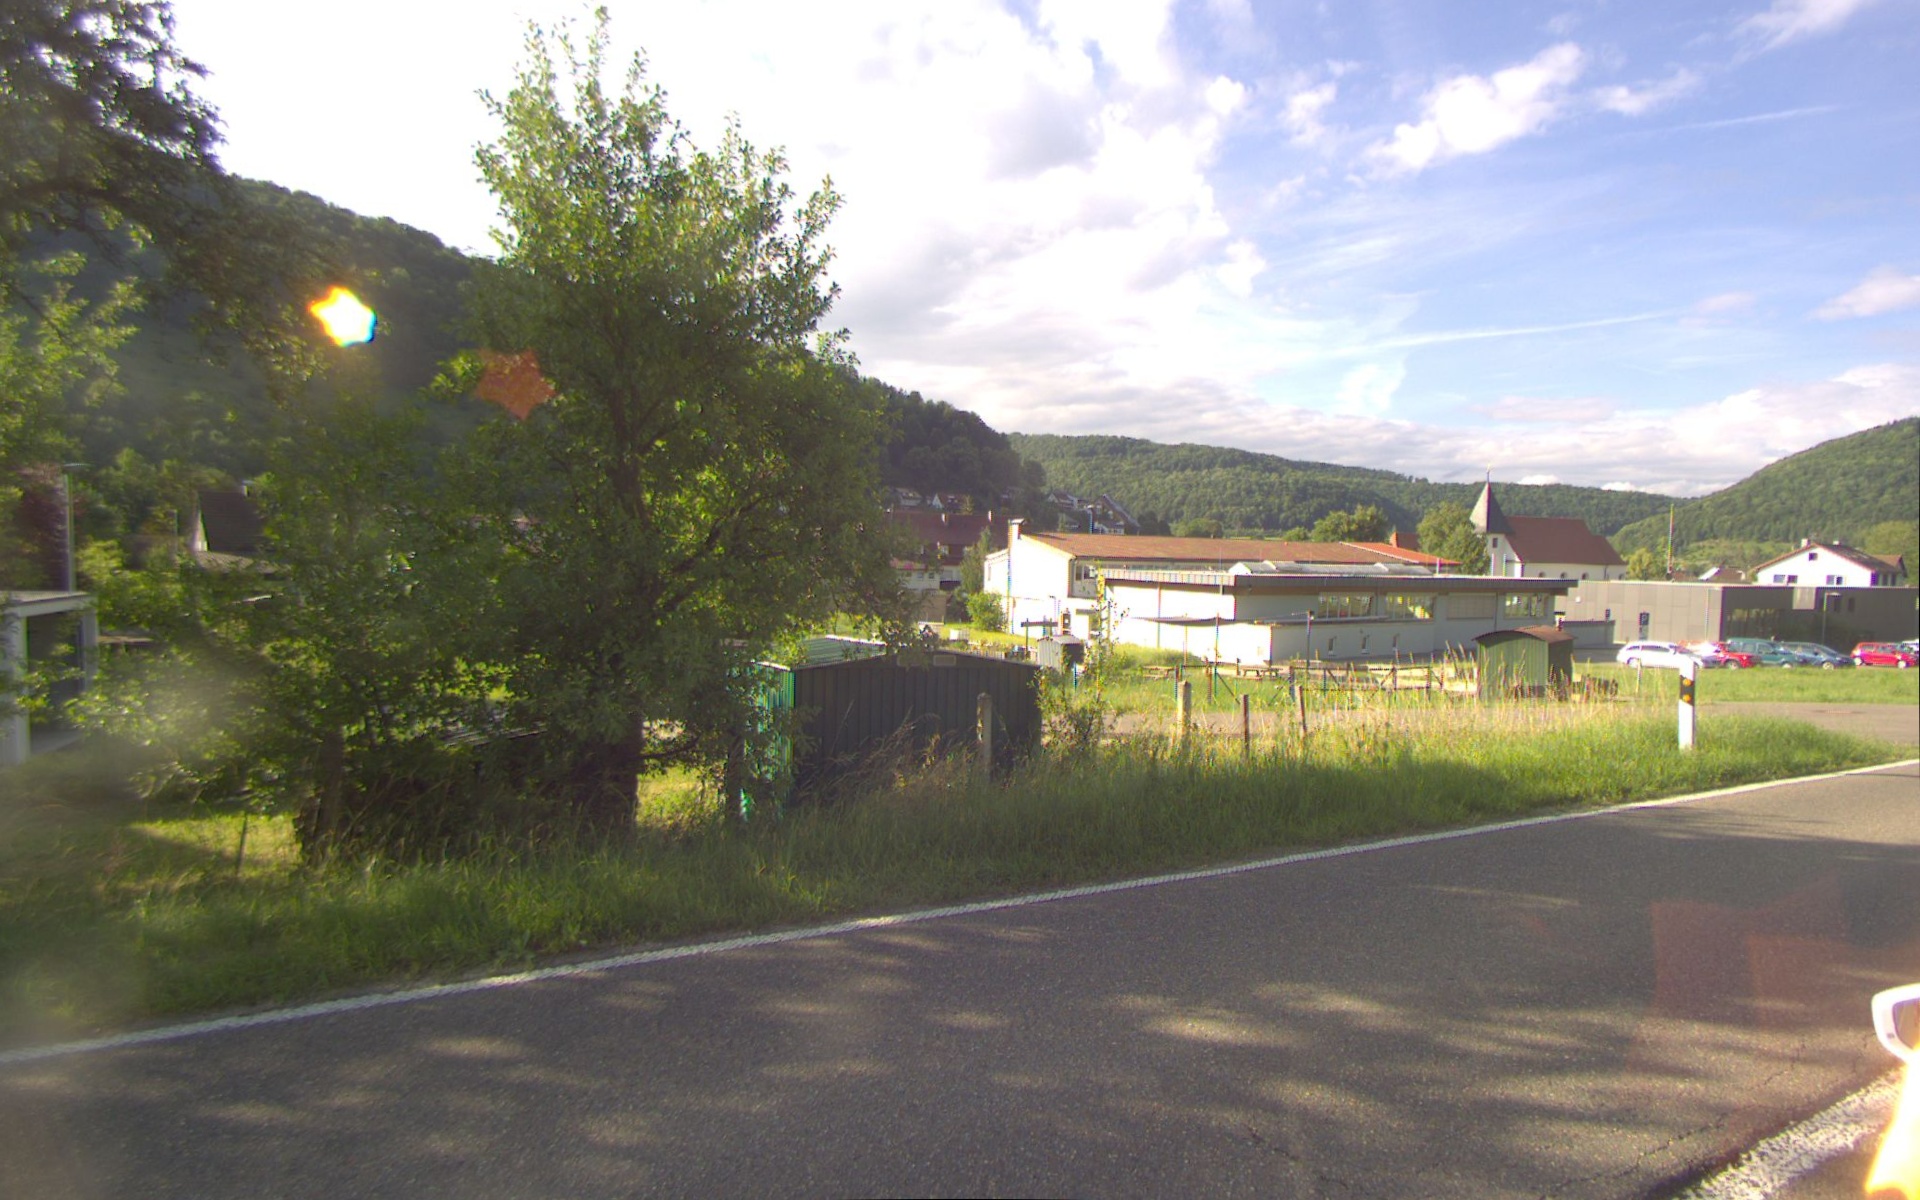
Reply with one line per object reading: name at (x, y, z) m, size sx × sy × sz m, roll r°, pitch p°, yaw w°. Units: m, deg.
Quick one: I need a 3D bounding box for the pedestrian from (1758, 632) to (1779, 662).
pedestrian at (56.249, 3.301, 69.915) m, size 0.962 × 2.040 × 0.821 m, roll 2°, pitch 0°, yaw -30°

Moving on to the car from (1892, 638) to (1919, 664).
car at (67.334, 3.583, 69.402) m, size 1.978 × 1.733 × 3.965 m, roll 2°, pitch 0°, yaw -32°

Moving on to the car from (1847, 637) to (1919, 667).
car at (60.444, 3.344, 65.116) m, size 1.978 × 1.733 × 3.965 m, roll 2°, pitch 0°, yaw -32°

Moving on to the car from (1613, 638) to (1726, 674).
car at (39.110, 3.050, 55.489) m, size 1.978 × 1.733 × 4.705 m, roll 2°, pitch 0°, yaw -32°

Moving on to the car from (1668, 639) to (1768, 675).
car at (42.212, 3.149, 56.016) m, size 1.978 × 1.733 × 3.965 m, roll 2°, pitch 0°, yaw -32°

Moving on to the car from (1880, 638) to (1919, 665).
car at (64.455, 3.480, 67.145) m, size 1.978 × 1.733 × 3.965 m, roll 2°, pitch 0°, yaw -32°

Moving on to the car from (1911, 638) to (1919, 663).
car at (70.175, 3.680, 70.966) m, size 1.978 × 1.733 × 3.965 m, roll 2°, pitch 0°, yaw -32°

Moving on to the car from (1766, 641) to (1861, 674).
car at (51.358, 3.459, 60.522) m, size 1.978 × 1.733 × 3.965 m, roll 2°, pitch 0°, yaw -32°

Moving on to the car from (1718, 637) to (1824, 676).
car at (47.305, 3.253, 58.666) m, size 1.978 × 2.034 × 4.382 m, roll 2°, pitch 0°, yaw -32°
